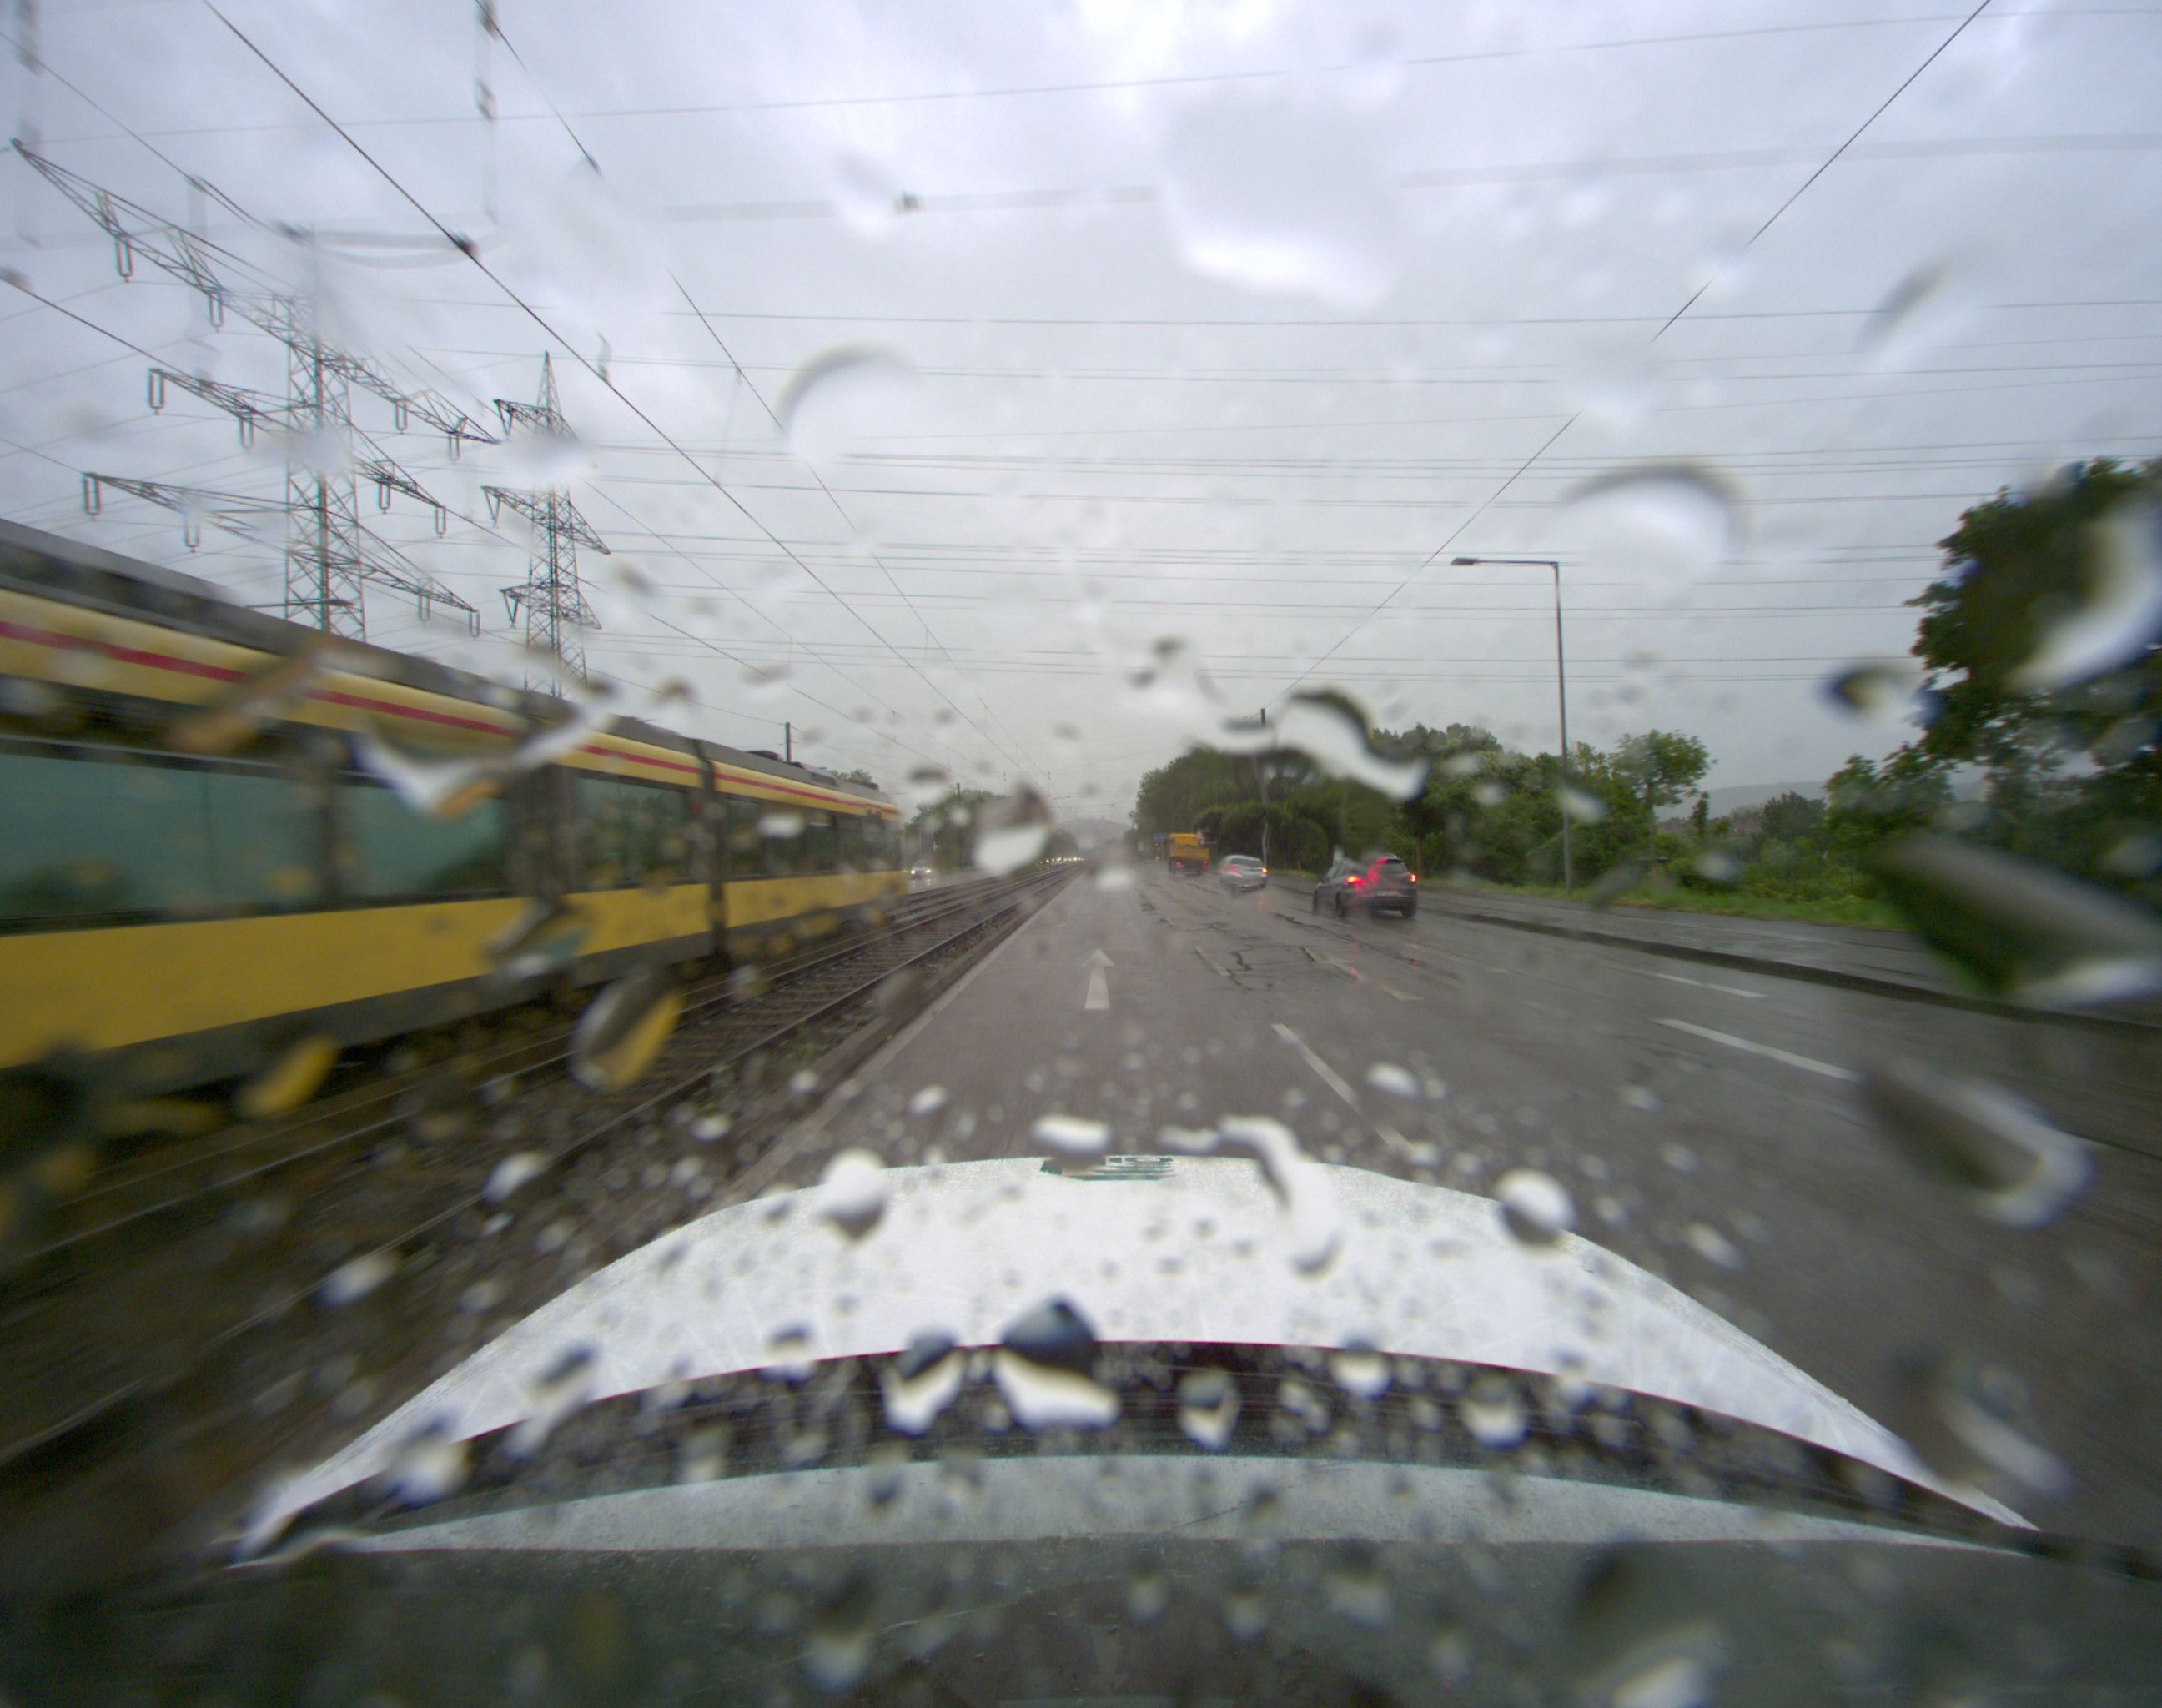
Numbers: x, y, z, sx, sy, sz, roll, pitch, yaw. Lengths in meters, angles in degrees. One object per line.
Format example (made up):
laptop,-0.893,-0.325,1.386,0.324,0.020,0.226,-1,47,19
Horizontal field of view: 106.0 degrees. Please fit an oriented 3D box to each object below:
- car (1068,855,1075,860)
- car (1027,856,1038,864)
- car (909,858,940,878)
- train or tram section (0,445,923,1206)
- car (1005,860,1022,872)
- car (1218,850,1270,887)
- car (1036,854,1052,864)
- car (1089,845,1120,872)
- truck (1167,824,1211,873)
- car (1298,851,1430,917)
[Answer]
car,-2.851,1.059,236.769,1.735,1.354,4.548,-1,1,2
car,-9.494,1.162,160.241,1.751,1.362,5.073,-1,1,2
car,-14.360,1.260,75.013,1.818,1.635,5.138,-1,1,1
train or tram section,-6.219,-0.260,13.734,2.875,3.705,19.535,-1,1,1
car,-9.737,1.680,118.077,1.836,1.574,5.068,-1,1,1
car,7.217,0.589,36.405,1.619,1.503,4.610,-1,1,3
car,-6.518,0.856,143.915,1.984,1.464,5.258,-4,1,4
car,1.623,0.288,54.404,1.981,1.684,3.743,-1,1,3
truck,7.707,-0.430,58.785,2.545,3.257,6.938,-1,1,3
car,6.674,0.636,19.726,1.880,1.357,4.280,-1,1,3
